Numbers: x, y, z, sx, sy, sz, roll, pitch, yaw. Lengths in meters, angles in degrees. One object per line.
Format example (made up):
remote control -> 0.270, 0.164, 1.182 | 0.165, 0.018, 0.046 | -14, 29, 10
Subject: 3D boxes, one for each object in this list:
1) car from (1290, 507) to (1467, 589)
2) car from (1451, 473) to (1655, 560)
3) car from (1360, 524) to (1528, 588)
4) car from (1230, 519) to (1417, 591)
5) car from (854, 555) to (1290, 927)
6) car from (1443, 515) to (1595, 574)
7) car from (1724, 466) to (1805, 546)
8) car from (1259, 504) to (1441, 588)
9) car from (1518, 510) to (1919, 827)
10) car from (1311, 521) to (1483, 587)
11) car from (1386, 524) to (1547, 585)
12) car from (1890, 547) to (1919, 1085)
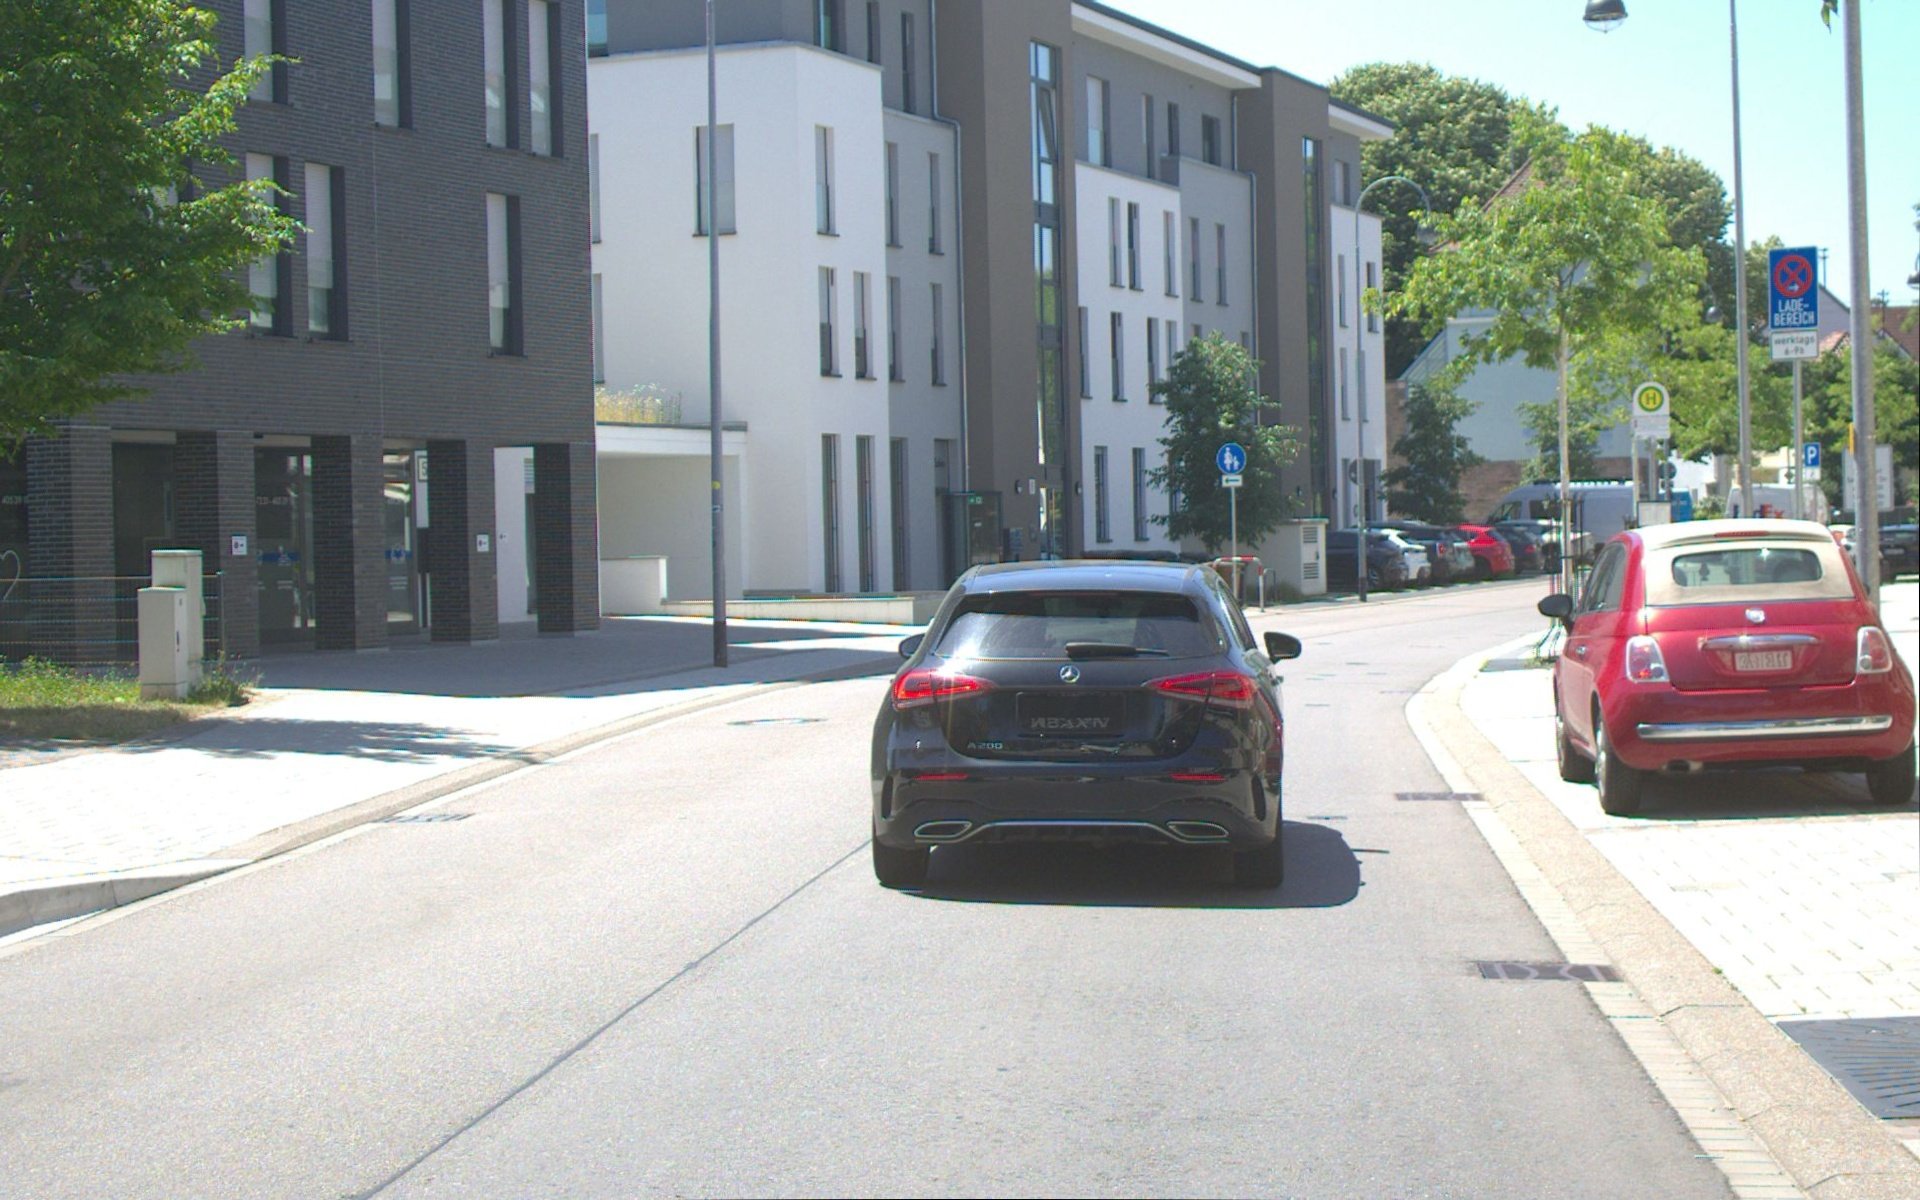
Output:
car -> 10.482, -1.293, 86.088 | 3.992, 2.007, 1.997 | 0, 1, 25
car -> 18.067, -2.524, 104.723 | 5.649, 2.570, 2.512 | 0, 1, 25
car -> 12.810, -1.169, 90.991 | 3.992, 1.656, 1.998 | 0, 1, 24
car -> 8.618, -1.070, 81.555 | 3.992, 1.656, 1.998 | 0, 1, 24
car -> 0.632, 0.545, 16.313 | 1.763, 1.452, 4.438 | 1, 1, 5
car -> 16.251, -1.610, 99.938 | 3.992, 1.656, 1.998 | 0, 1, 24
car -> 20.930, -2.427, 89.403 | 1.995, 2.007, 3.998 | 0, 1, 14
car -> 9.510, -1.303, 83.832 | 3.992, 2.007, 1.997 | 0, 1, 25
car -> 4.111, 0.315, 18.960 | 1.606, 1.525, 3.492 | -2, 1, 3
car -> 11.267, -1.177, 88.539 | 3.992, 1.656, 1.998 | 0, 1, 24
car -> 13.950, -1.250, 94.729 | 3.992, 1.656, 1.998 | 0, 1, 24
car -> 2.944, 0.601, 5.735 | 1.750, 1.481, 4.000 | -3, 1, 2
